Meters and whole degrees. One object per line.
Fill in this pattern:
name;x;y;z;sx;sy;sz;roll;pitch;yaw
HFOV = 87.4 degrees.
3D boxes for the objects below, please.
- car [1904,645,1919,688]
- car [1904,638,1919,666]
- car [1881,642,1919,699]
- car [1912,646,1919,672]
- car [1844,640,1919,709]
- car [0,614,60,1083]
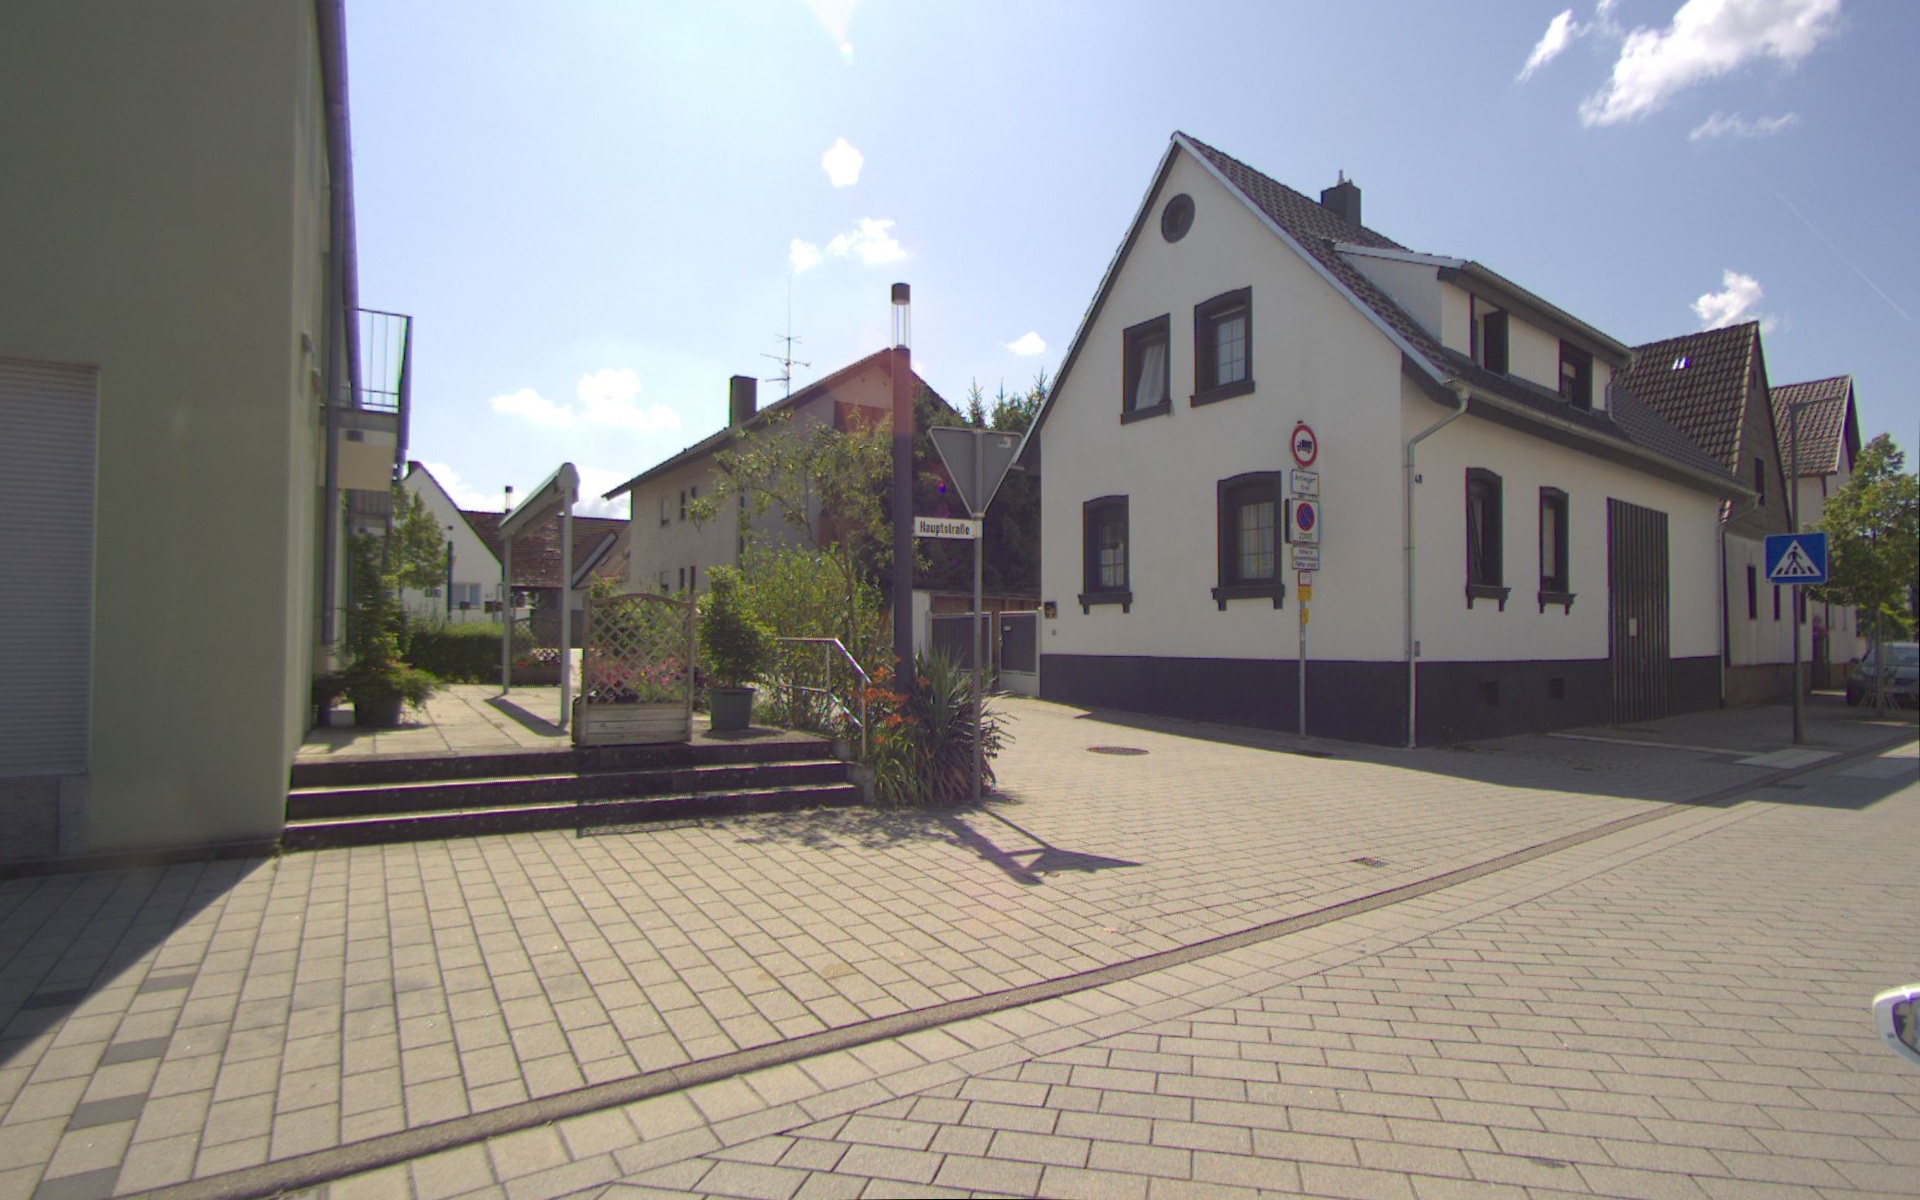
car;35.610;2.388;36.443;3.844;1.495;1.776;2;-3;-44
car;59.727;3.216;61.926;3.973;1.684;1.974;2;-3;-44
car;28.249;2.027;29.261;4.228;1.552;1.734;2;-1;-42
car;68.894;4.167;71.360;3.591;1.781;1.667;2;-3;-44
car;23.472;1.800;24.964;3.968;1.550;1.732;2;-1;-41
car;-4.758;0.768;1.908;4.228;1.510;1.804;1;0;-31
